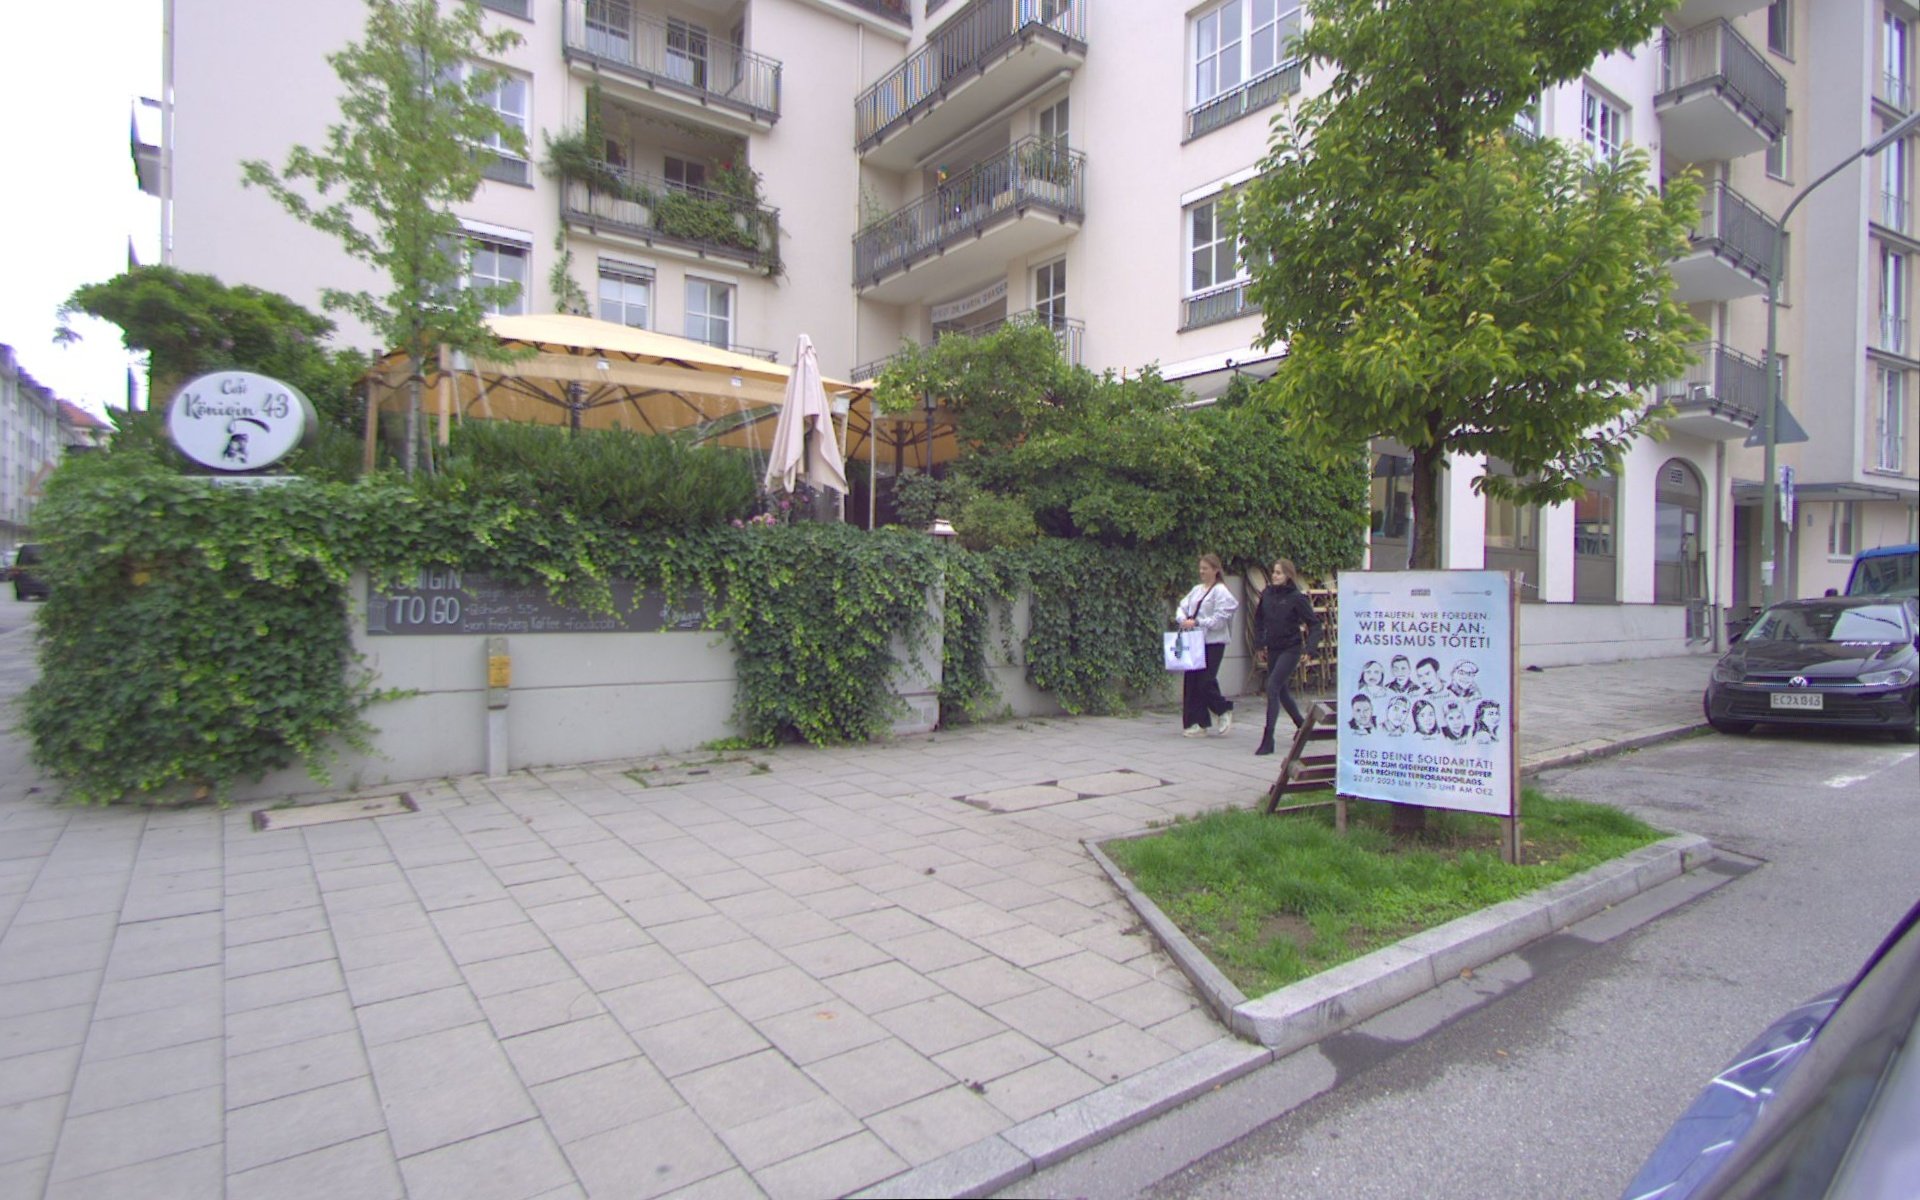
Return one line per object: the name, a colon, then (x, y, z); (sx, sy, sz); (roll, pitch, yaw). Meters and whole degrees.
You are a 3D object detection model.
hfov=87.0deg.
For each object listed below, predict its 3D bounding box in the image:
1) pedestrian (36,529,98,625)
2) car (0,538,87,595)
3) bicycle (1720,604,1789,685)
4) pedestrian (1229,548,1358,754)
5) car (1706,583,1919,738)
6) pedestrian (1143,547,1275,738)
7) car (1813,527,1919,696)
pedestrian: (-16.638, -0.418, 18.870); (0.773, 1.735, 0.832); (1, 1, -36)
car: (-30.630, -1.110, 33.813); (1.785, 1.797, 4.001); (1, 1, -35)
bicycle: (11.552, 0.617, 14.695); (1.758, 1.083, 0.565); (0, 1, -45)
pedestrian: (2.837, 0.388, 8.622); (0.814, 1.648, 0.680); (-1, 2, -38)
car: (9.850, 0.571, 11.118); (3.928, 1.413, 1.717); (0, -2, -39)
pedestrian: (2.248, 0.342, 9.176); (0.814, 1.626, 0.809); (-1, 2, -36)
car: (14.780, 0.079, 14.818); (4.933, 2.242, 2.115); (-2, -2, -34)
